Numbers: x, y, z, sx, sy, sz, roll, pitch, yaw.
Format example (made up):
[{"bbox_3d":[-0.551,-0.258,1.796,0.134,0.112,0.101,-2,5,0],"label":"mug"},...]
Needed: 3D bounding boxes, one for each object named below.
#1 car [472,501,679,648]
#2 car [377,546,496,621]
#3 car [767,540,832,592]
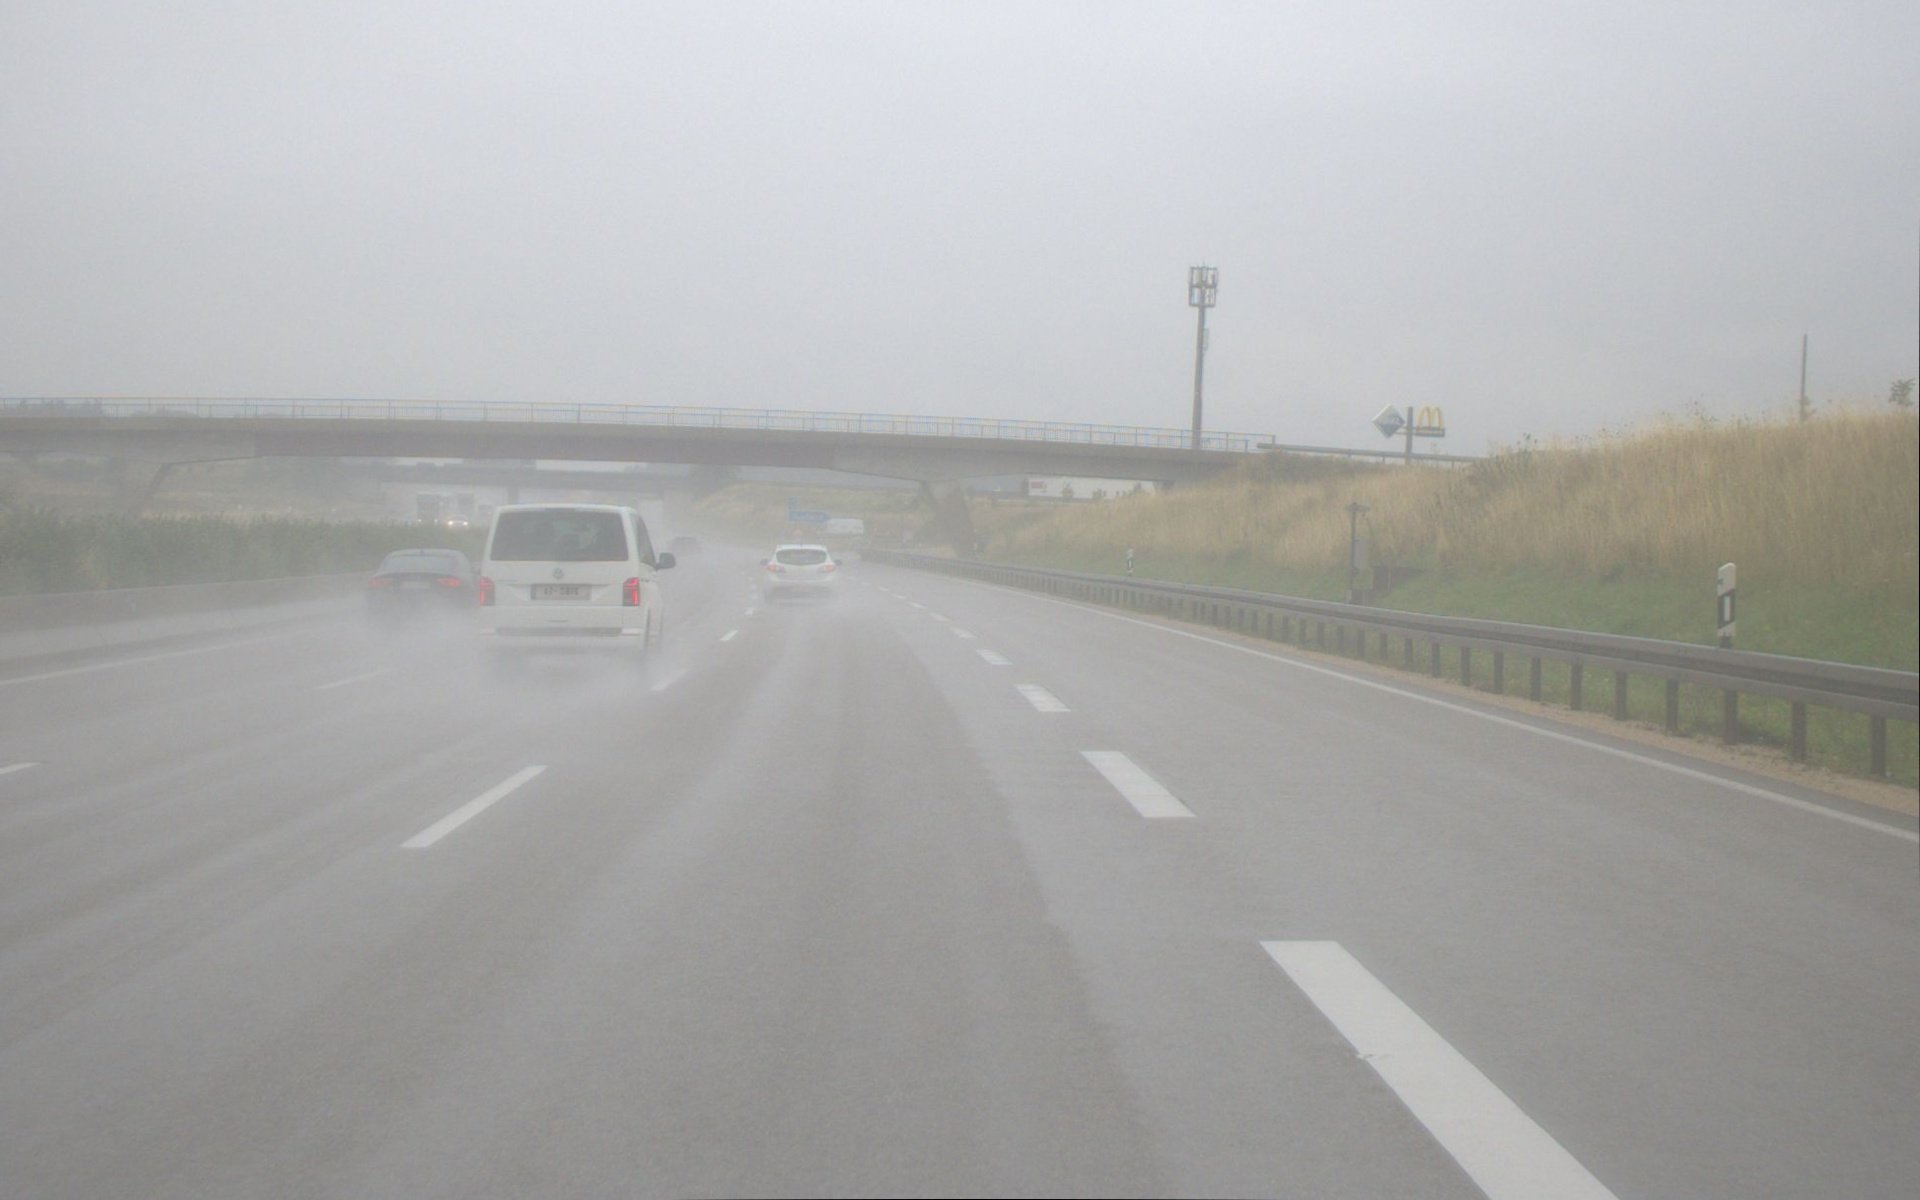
[{"bbox_3d":[-4.362,-0.308,39.554,1.897,1.580,4.000,1,1,0],"label":"car"},{"bbox_3d":[-8.996,-0.303,59.267,1.468,1.253,3.340,0,1,1],"label":"car"},{"bbox_3d":[-3.827,-0.812,81.748,1.467,1.204,2.992,0,1,-4],"label":"car"}]
